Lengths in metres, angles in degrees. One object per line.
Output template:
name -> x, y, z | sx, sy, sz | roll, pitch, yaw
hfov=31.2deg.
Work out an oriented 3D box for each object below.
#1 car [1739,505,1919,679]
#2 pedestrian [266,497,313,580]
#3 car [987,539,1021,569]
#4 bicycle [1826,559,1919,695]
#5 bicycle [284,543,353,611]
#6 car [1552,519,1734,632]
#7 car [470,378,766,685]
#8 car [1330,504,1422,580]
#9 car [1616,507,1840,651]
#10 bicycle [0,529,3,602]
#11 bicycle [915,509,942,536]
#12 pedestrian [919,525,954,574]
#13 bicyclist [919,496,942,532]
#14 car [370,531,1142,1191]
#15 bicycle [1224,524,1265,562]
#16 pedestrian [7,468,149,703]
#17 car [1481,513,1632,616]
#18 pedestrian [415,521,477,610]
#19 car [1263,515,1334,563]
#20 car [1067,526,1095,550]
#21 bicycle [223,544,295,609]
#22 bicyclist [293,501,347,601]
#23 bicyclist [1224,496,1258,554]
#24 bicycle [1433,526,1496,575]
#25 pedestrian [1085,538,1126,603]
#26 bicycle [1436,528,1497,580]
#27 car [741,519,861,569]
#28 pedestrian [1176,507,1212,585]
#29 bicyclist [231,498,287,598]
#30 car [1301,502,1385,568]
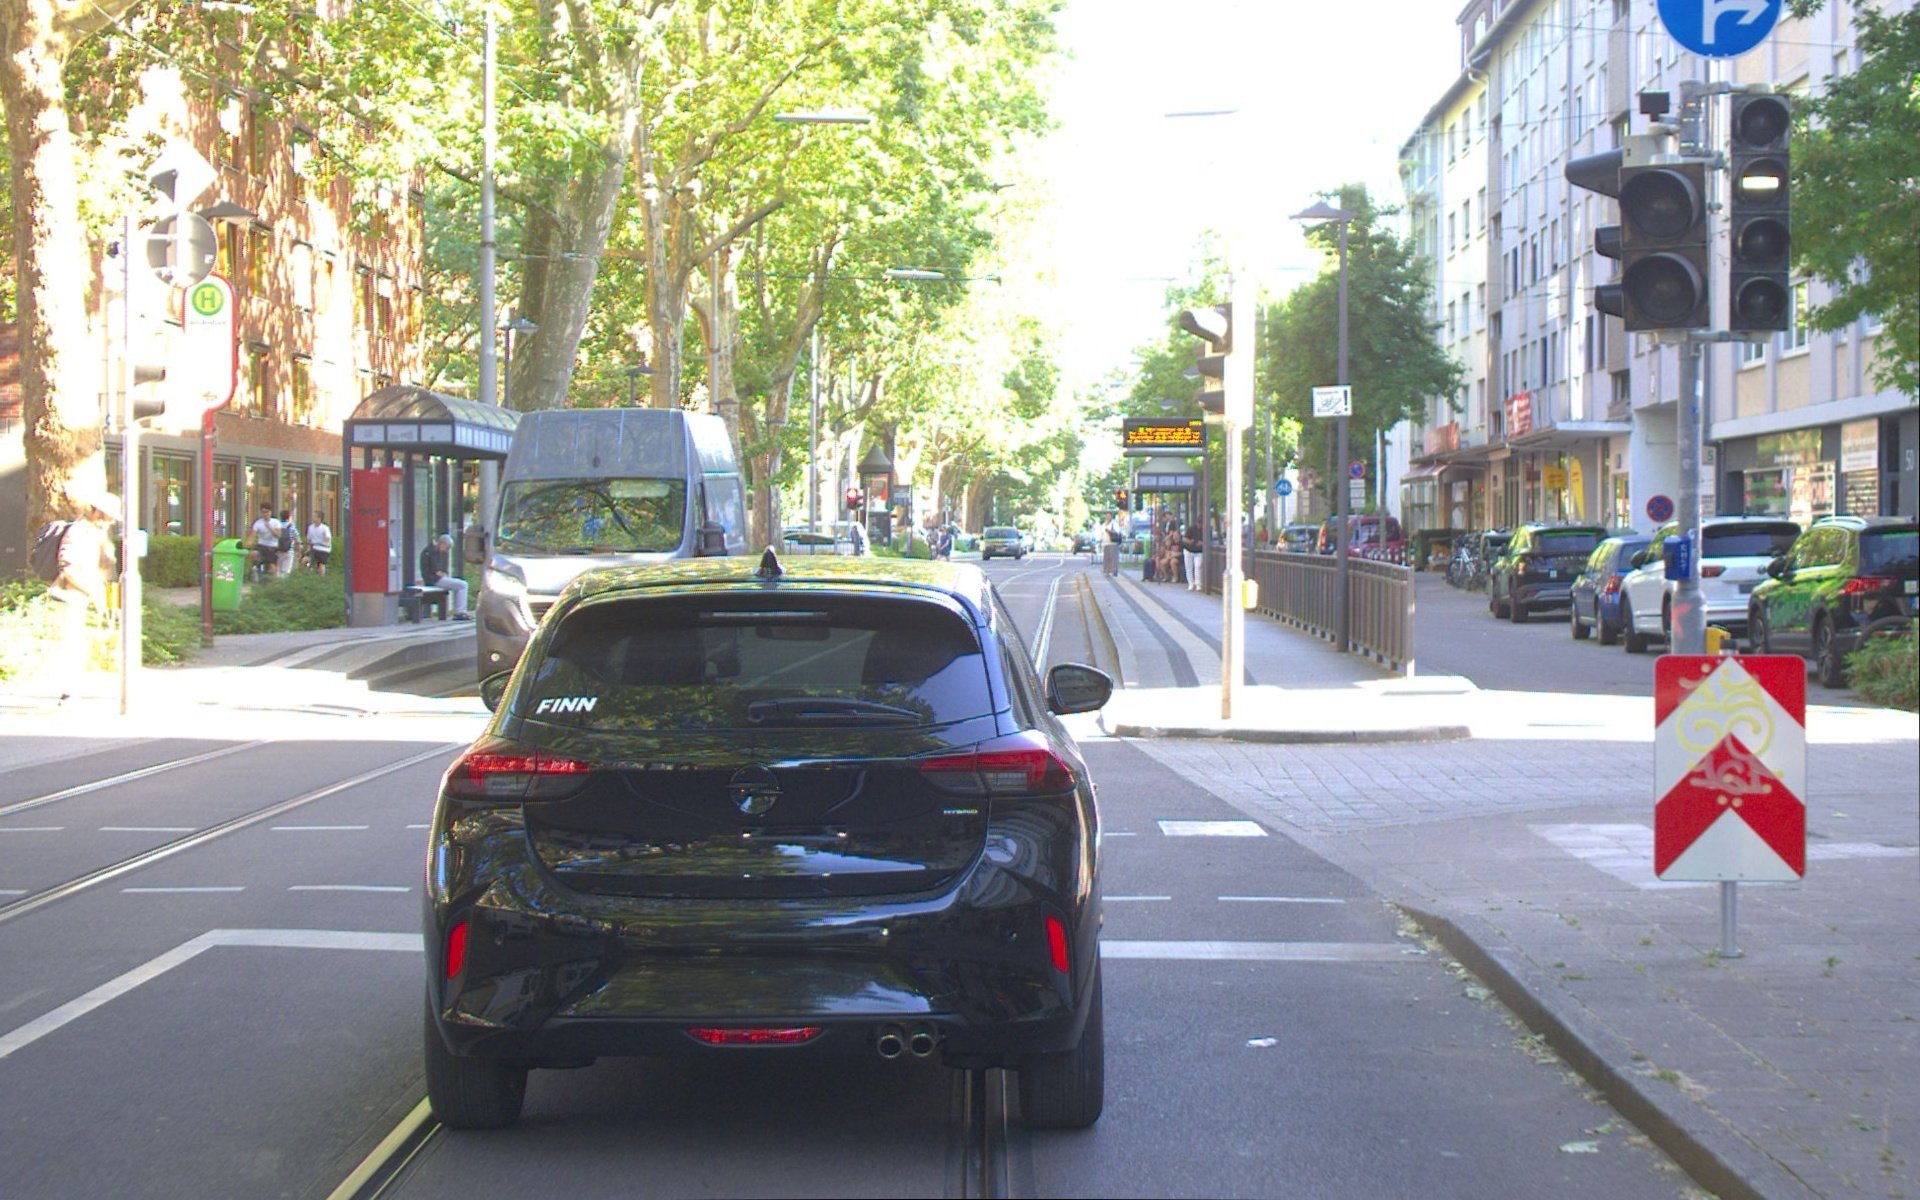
car -> 9.118, -0.105, 33.917 | 1.993, 1.610, 4.445 | 0, 1, 2
pedestrian -> -13.500, -1.238, 69.250 | 0.735, 1.666, 0.861 | 1, 1, 2
car -> 2.292, -2.409, 180.254 | 1.745, 1.539, 4.000 | 1, 1, 0
bicycle -> 8.855, 0.247, 30.674 | 2.127, 1.183, 0.681 | 1, 1, 10
bicycle -> -11.486, -0.419, 61.623 | 0.782, 1.187, 2.596 | 1, 1, -1
car -> 9.235, -0.344, 46.762 | 1.744, 1.435, 4.247 | 1, 1, 2
car -> -3.244, -0.654, 33.947 | 2.114, 2.728, 6.115 | -1, 1, 2
car -> 11.060, -1.533, 91.642 | 1.993, 1.946, 4.000 | 1, 1, 1
car -> 9.118, -0.271, 41.128 | 1.799, 1.600, 4.415 | 1, 1, 2
bicycle -> -16.460, -0.574, 54.535 | 2.340, 1.162, 0.682 | 2, 1, 3
bicycle -> -1.481, -3.656, 162.666 | 0.955, 1.236, 2.977 | 1, 1, 5
pedestrian -> -0.849, -1.805, 123.311 | 1.163, 1.742, 0.958 | 1, 1, -3
bicyclist -> -1.401, -4.098, 163.569 | 0.941, 1.697, 1.153 | 1, 1, 5
car -> -0.475, 0.572, 9.709 | 1.760, 1.503, 3.683 | 0, 1, 0
bicycle -> 8.647, -1.740, 104.701 | 0.861, 1.132, 2.396 | 1, 1, -4
pedestrian -> -7.108, -0.132, 27.732 | 0.924, 1.829, 0.920 | 1, 3, -2
car -> 9.886, -0.597, 57.242 | 1.857, 1.610, 4.397 | 1, 1, 2
pedestrian -> -6.812, -0.462, 45.581 | 0.705, 1.164, 0.659 | -1, 1, -1
car -> 10.865, -1.954, 110.429 | 1.993, 1.481, 4.000 | 1, 1, 2
car -> 8.111, -4.140, 230.265 | 1.745, 1.539, 4.000 | 1, 1, 0
bicycle -> -12.494, -0.428, 61.351 | 0.782, 1.107, 2.596 | 1, 1, -1
bicyclist -> -11.468, -0.881, 61.620 | 0.782, 1.757, 0.951 | 1, 1, -1
bicyclist -> 8.606, -2.294, 105.367 | 0.861, 1.753, 1.054 | 1, 1, -4
bicycle -> 11.956, -1.173, 81.558 | 0.611, 1.132, 2.922 | 1, 1, -9
pedestrian -> 3.837, -0.775, 90.459 | 0.751, 1.703, 0.762 | 1, 1, 37
bicycle -> 11.326, -1.025, 76.987 | 0.621, 1.132, 2.440 | 1, 1, -9
car -> -5.643, -1.981, 121.612 | 4.113, 1.695, 1.884 | 1, 1, -5
pedestrian -> 4.850, -1.128, 71.291 | 0.631, 1.571, 0.870 | 2, 1, 2
bicyclist -> -12.505, -0.929, 61.322 | 0.774, 1.744, 0.997 | 1, 1, 0
car -> 10.903, -1.847, 98.056 | 1.993, 1.791, 4.000 | 1, 1, 1
